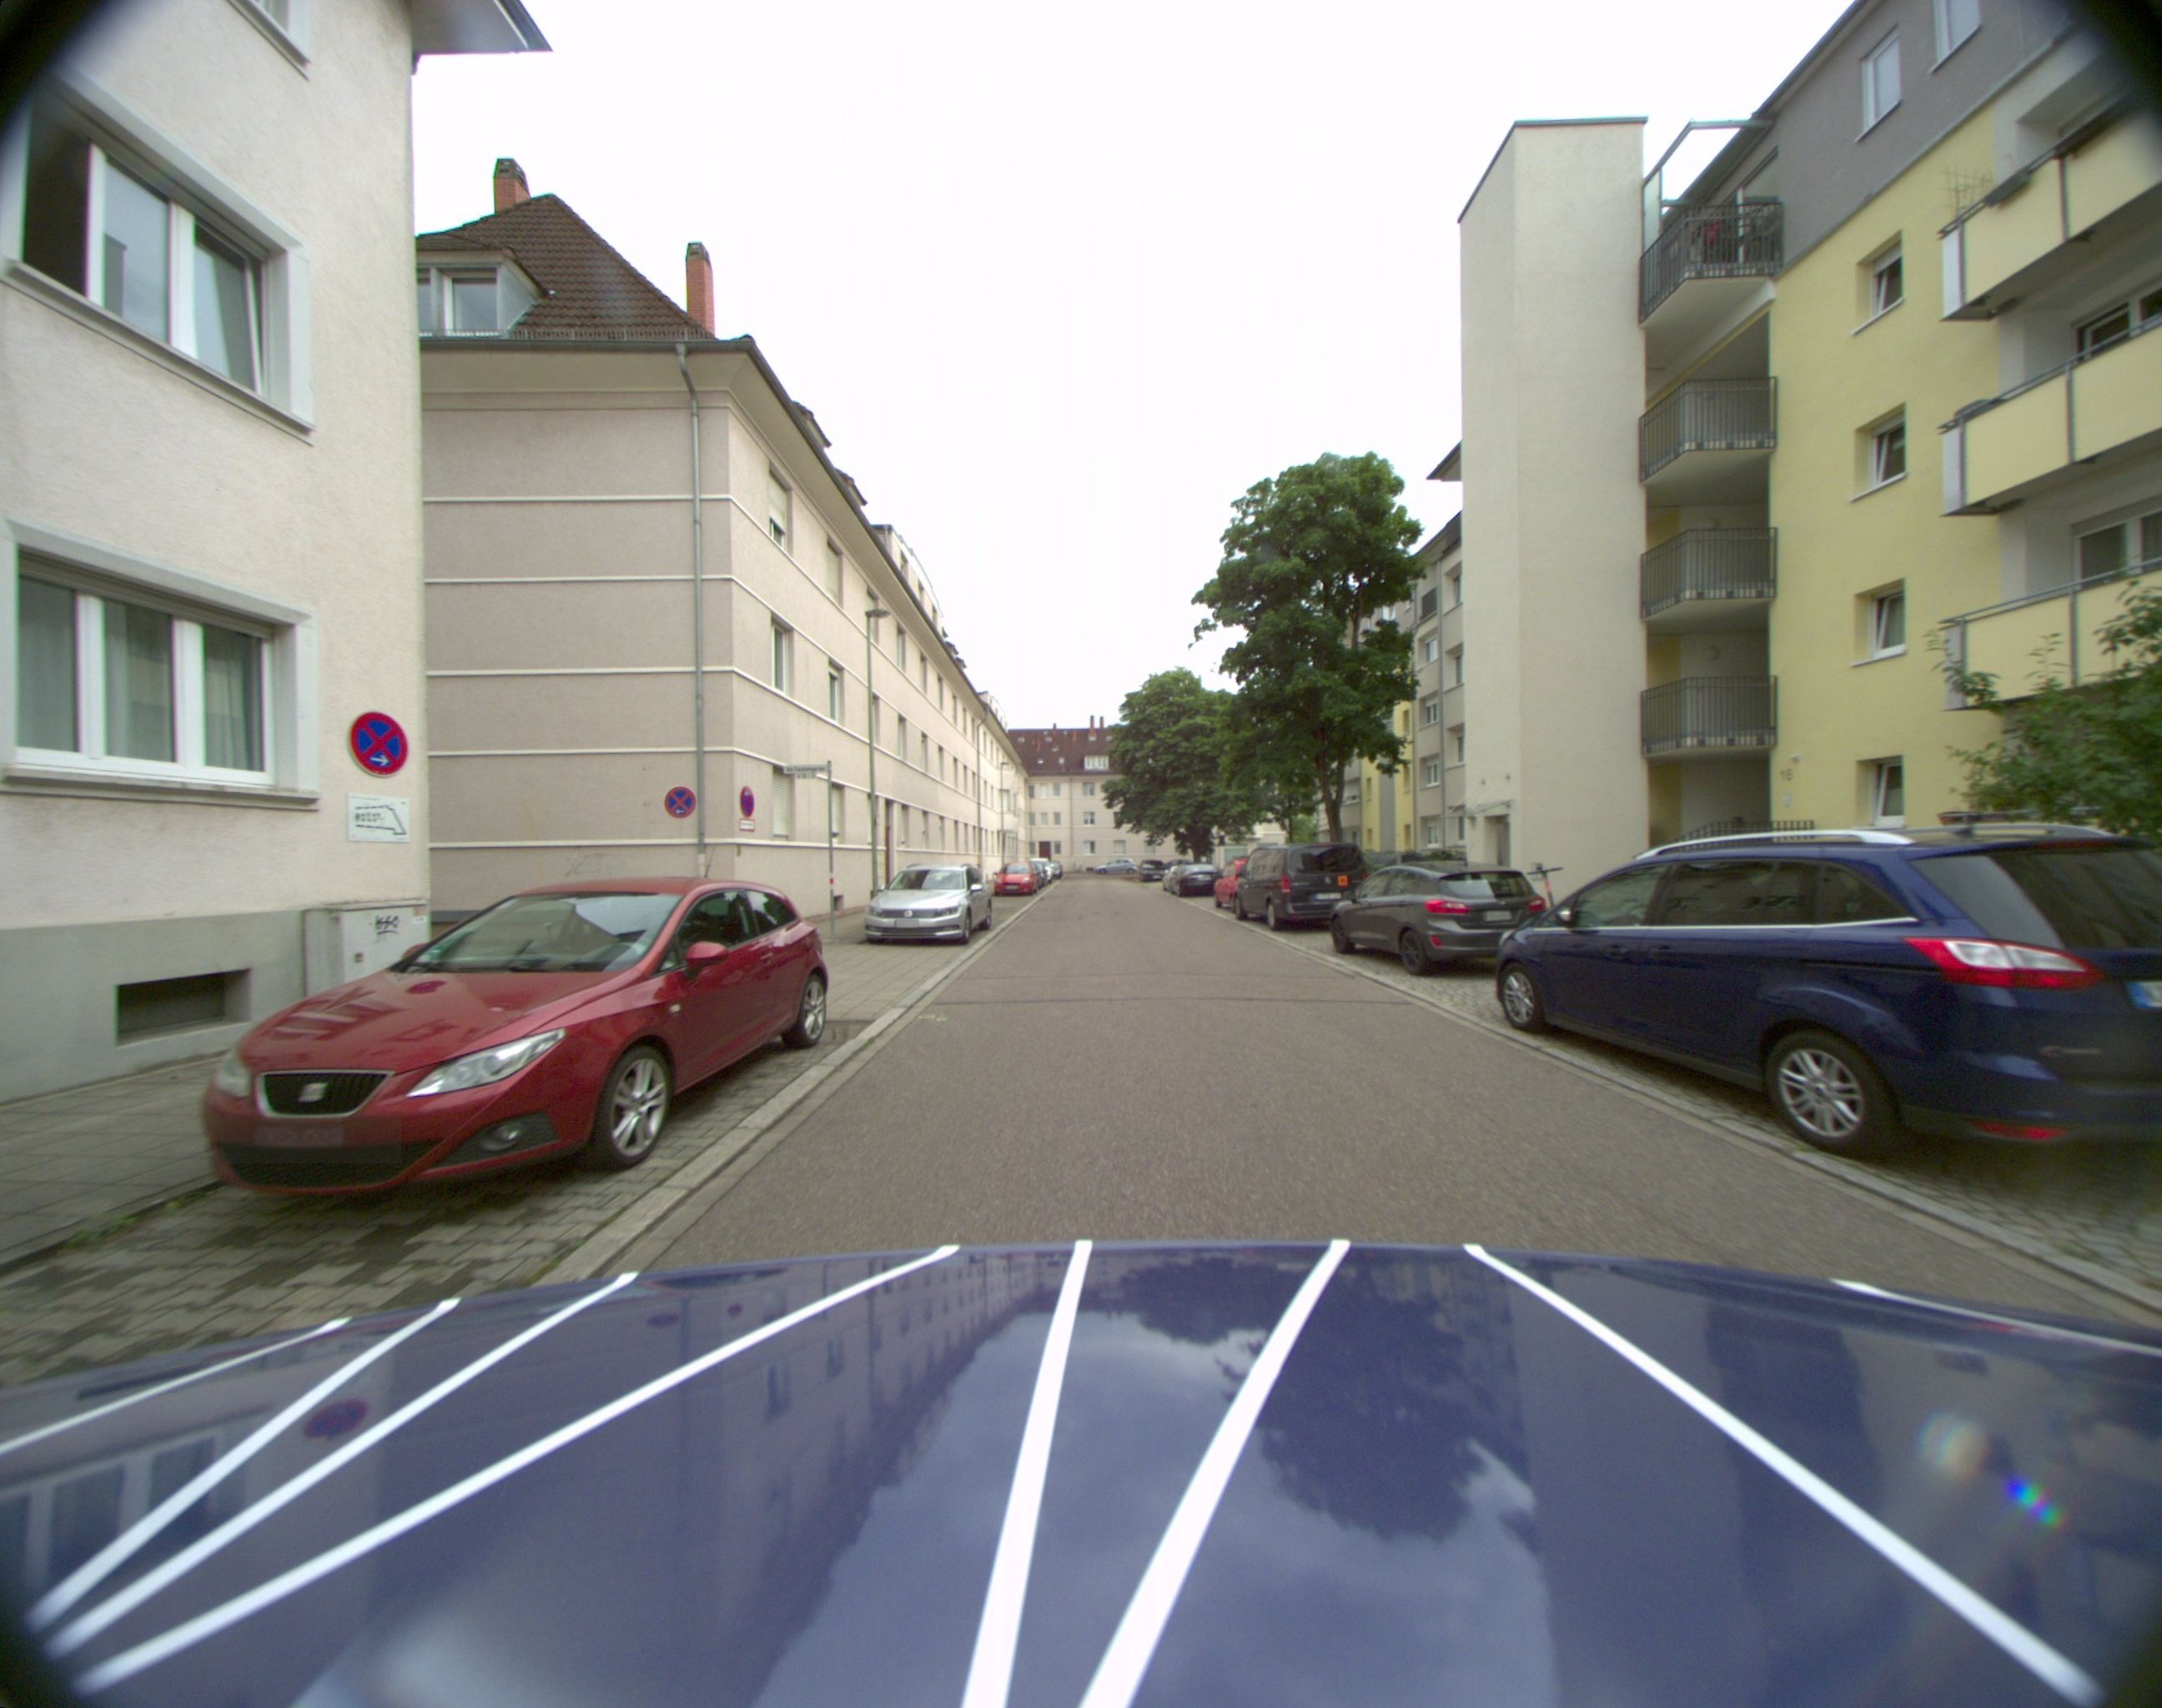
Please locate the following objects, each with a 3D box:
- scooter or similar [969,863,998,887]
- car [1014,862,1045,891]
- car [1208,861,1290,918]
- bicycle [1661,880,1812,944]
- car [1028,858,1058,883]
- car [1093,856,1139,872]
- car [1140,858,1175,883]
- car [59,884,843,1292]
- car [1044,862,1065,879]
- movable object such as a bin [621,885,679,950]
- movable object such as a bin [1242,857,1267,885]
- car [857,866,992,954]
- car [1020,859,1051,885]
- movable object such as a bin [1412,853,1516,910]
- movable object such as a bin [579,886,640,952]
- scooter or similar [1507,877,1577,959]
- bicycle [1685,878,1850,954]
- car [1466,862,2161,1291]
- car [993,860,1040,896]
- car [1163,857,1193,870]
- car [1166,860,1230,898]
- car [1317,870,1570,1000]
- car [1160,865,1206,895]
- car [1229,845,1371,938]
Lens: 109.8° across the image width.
[{"bbox_3d":[-5.119,1.093,39.935,0.650,1.226,1.473,0,0,36],"label":"scooter or similar"},{"bbox_3d":[-2.664,1.144,39.831,1.353,1.404,3.310,0,0,1],"label":"car"},{"bbox_3d":[4.969,1.014,22.881,1.625,1.559,3.613,0,0,-1],"label":"car"},{"bbox_3d":[10.971,0.952,12.761,1.855,1.014,0.671,0,0,7],"label":"bicycle"},{"bbox_3d":[-2.516,1.036,50.629,1.764,1.595,3.956,0,0,0],"label":"car"},{"bbox_3d":[3.537,1.023,75.898,4.545,1.550,1.565,0,0,4],"label":"car"},{"bbox_3d":[5.223,1.093,52.618,2.000,1.566,4.210,-2,0,1],"label":"car"},{"bbox_3d":[-3.070,0.989,4.925,1.758,1.401,3.936,2,0,0],"label":"car"},{"bbox_3d":[-2.120,1.297,61.533,1.563,1.334,3.789,0,0,1],"label":"car"},{"bbox_3d":[-7.227,1.047,12.776,0.549,1.036,0.705,0,0,3],"label":"movable object such as a bin"},{"bbox_3d":[9.245,0.918,40.510,1.184,1.467,0.889,0,0,3],"label":"movable object such as a bin"},{"bbox_3d":[-2.912,0.983,14.998,1.792,1.455,4.040,0,0,0],"label":"car"},{"bbox_3d":[-2.652,1.024,45.091,1.587,1.500,3.486,0,0,0],"label":"car"},{"bbox_3d":[10.736,0.725,21.467,1.617,1.515,2.541,0,0,-1],"label":"movable object such as a bin"},{"bbox_3d":[-7.820,1.061,12.615,0.549,1.036,0.705,0,0,3],"label":"movable object such as a bin"},{"bbox_3d":[7.438,1.009,12.304,0.438,1.236,1.136,0,0,1],"label":"scooter or similar"},{"bbox_3d":[10.844,0.958,12.060,1.855,1.130,0.717,0,0,7],"label":"bicycle"},{"bbox_3d":[4.687,0.902,5.225,1.804,1.617,4.472,-2,0,0],"label":"car"},{"bbox_3d":[-2.834,1.023,34.088,1.758,1.477,3.773,1,0,0],"label":"car"},{"bbox_3d":[9.694,0.969,75.875,2.930,1.277,1.353,-1,0,4],"label":"car"},{"bbox_3d":[4.946,1.025,32.742,1.919,1.431,4.434,-2,0,-1],"label":"car"},{"bbox_3d":[4.891,0.995,10.907,1.625,1.437,3.818,-2,0,-3],"label":"car"},{"bbox_3d":[5.059,1.262,38.108,1.765,1.257,4.210,-2,0,1],"label":"car"},{"bbox_3d":[4.847,0.763,17.588,1.891,1.844,4.785,0,0,0],"label":"car"}]
